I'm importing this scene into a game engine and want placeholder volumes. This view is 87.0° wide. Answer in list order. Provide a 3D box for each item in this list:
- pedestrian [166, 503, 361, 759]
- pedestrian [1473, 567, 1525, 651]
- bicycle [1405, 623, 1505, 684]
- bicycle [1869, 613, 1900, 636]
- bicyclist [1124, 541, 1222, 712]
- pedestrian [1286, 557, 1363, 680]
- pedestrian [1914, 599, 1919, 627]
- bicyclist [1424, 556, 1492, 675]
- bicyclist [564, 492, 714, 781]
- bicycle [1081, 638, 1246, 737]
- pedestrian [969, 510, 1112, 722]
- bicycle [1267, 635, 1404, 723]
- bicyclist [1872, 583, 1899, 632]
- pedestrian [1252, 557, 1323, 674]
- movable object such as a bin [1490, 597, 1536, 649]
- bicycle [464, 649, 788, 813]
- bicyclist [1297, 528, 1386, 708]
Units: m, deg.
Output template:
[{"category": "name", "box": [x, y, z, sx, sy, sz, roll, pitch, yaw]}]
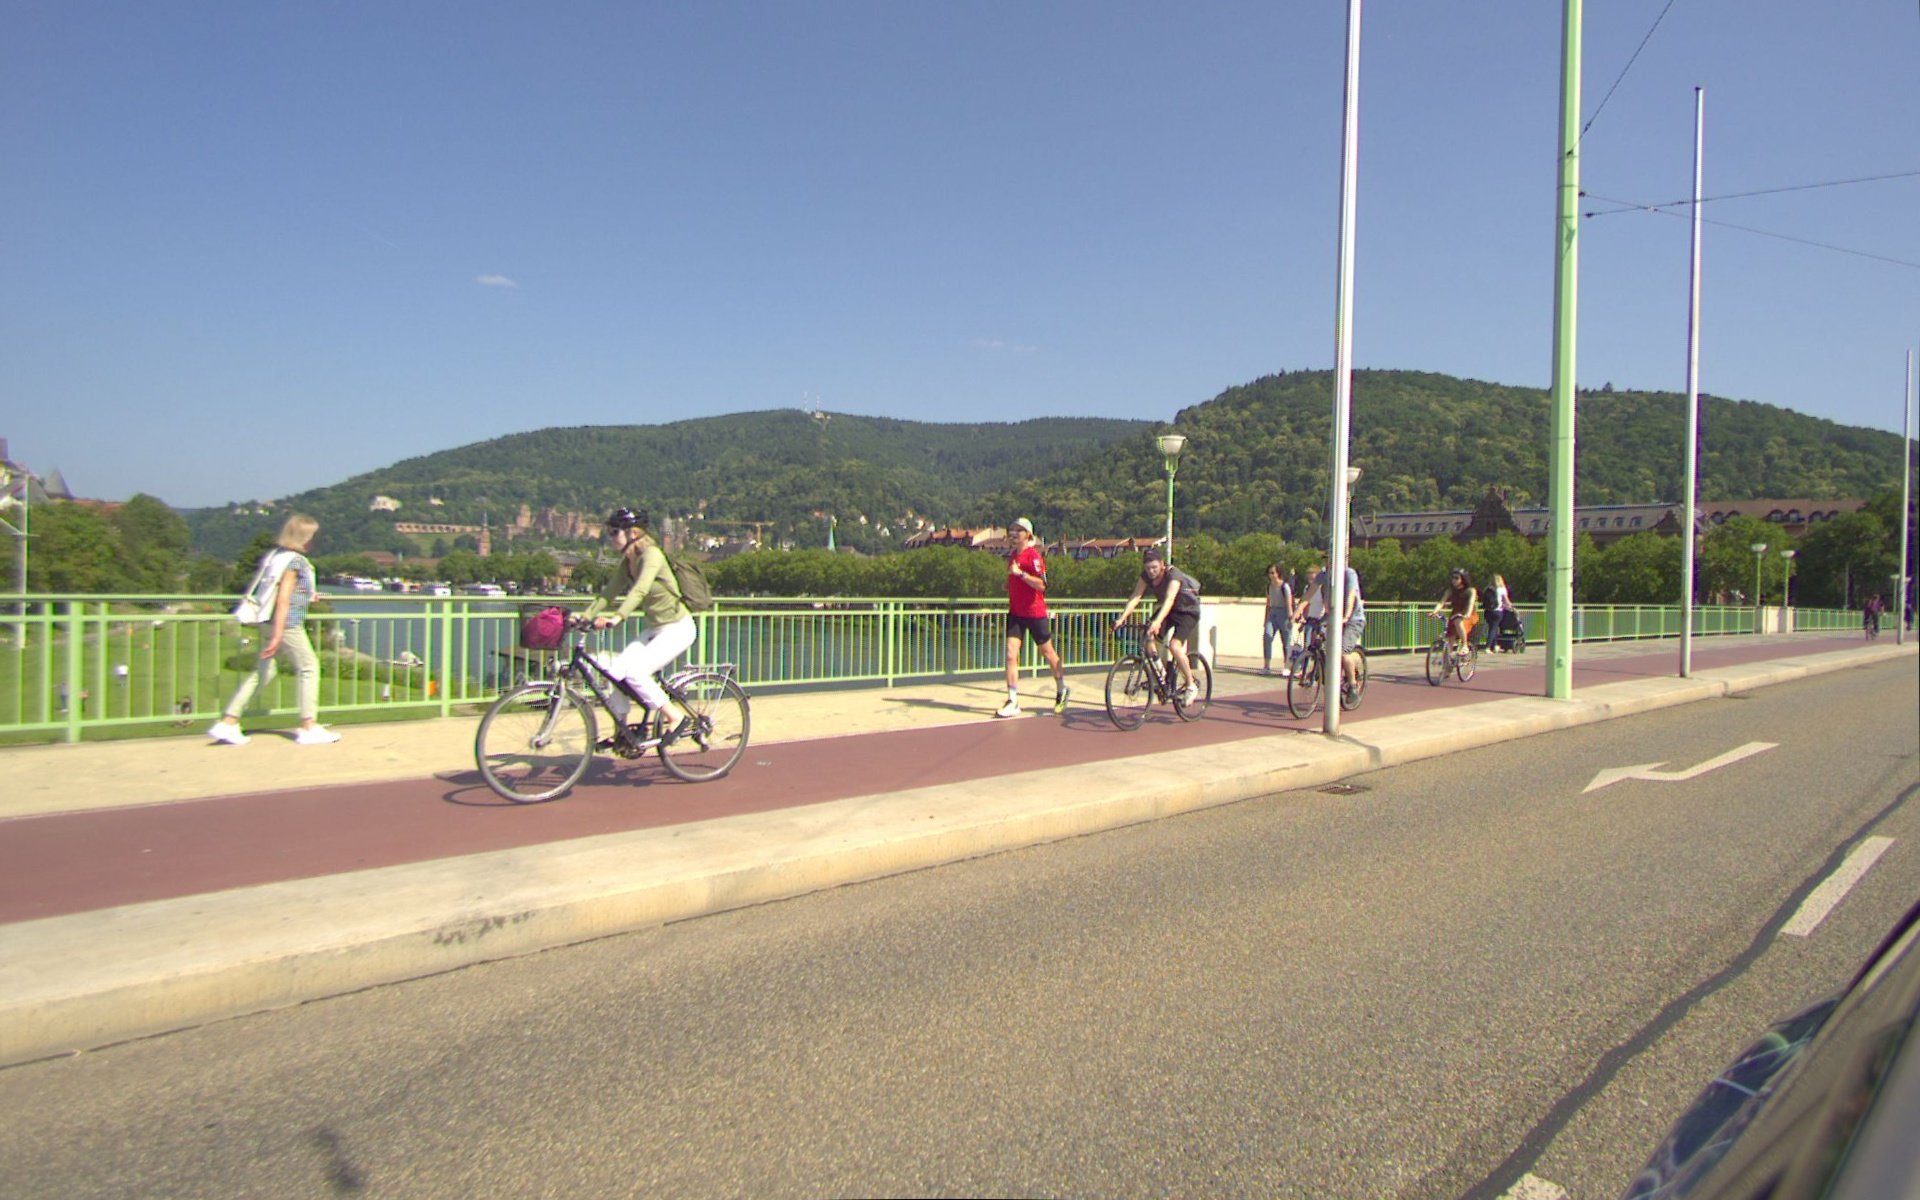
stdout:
[{"category": "pedestrian", "box": [-5.065, 0.183, 7.351, 1.063, 1.683, 0.949, 0, 2, -40]}, {"category": "pedestrian", "box": [11.496, 0.183, 21.596, 0.844, 1.727, 0.664, 0, 2, -41]}, {"category": "bicycle", "box": [7.235, 0.758, 14.757, 1.833, 0.775, 0.595, 0, 2, -40]}, {"category": "bicycle", "box": [33.945, 0.892, 37.166, 1.833, 0.775, 0.595, 0, 2, -40]}, {"category": "bicyclist", "box": [2.050, 0.231, 9.733, 0.690, 1.578, 0.587, 0, 2, -42]}, {"category": "pedestrian", "box": [5.194, 0.245, 14.418, 0.810, 1.679, 0.664, 0, 2, -41]}, {"category": "pedestrian", "box": [59.316, 0.817, 62.084, 1.063, 1.683, 0.949, 0, 3, -40]}, {"category": "bicyclist", "box": [7.258, 0.212, 14.744, 0.689, 1.671, 0.606, 0, 2, -39]}, {"category": "bicyclist", "box": [-1.998, 0.199, 6.299, 0.690, 1.671, 0.587, 0, 2, -42]}, {"category": "bicycle", "box": [1.972, 0.792, 9.668, 1.800, 0.775, 0.594, 0, 2, -43]}, {"category": "pedestrian", "box": [0.794, 0.134, 9.968, 1.108, 1.948, 0.812, 0, 2, -41]}, {"category": "bicycle", "box": [4.028, 0.806, 10.789, 1.835, 0.775, 0.594, 0, 2, -43]}, {"category": "bicyclist", "box": [34.014, 0.271, 37.202, 0.660, 1.791, 0.587, 1, 1, -40]}, {"category": "pedestrian", "box": [4.862, 0.211, 15.036, 0.733, 1.679, 0.668, 0, 2, -40]}, {"category": "movable object such as a bin", "box": [12.108, 0.495, 22.160, 0.917, 1.104, 0.583, 0, 2, -41]}, {"category": "bicycle", "box": [-2.018, 0.748, 6.309, 1.835, 0.775, 0.594, 0, 2, -43]}, {"category": "bicyclist", "box": [4.077, 0.172, 10.805, 0.690, 1.842, 0.587, 0, 2, -42]}]
